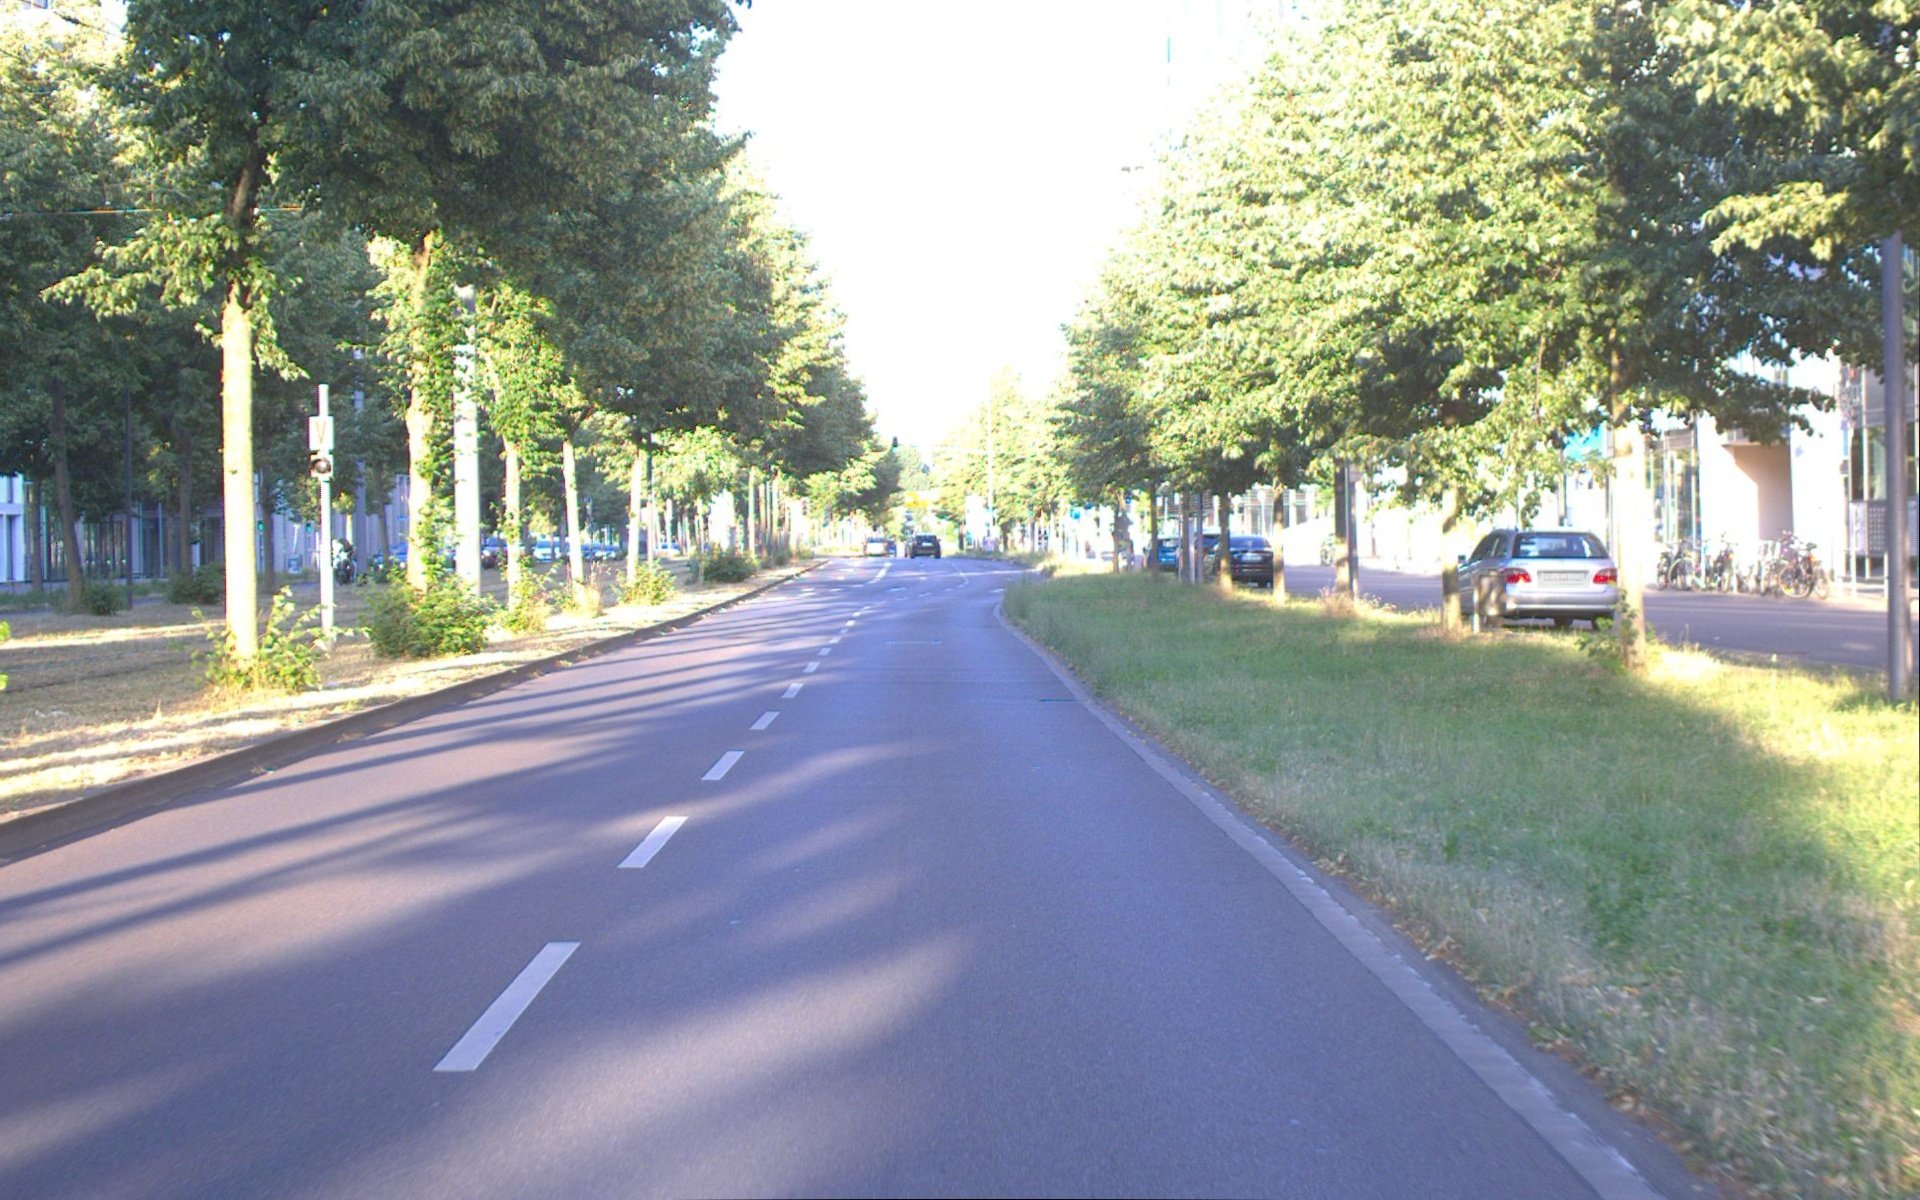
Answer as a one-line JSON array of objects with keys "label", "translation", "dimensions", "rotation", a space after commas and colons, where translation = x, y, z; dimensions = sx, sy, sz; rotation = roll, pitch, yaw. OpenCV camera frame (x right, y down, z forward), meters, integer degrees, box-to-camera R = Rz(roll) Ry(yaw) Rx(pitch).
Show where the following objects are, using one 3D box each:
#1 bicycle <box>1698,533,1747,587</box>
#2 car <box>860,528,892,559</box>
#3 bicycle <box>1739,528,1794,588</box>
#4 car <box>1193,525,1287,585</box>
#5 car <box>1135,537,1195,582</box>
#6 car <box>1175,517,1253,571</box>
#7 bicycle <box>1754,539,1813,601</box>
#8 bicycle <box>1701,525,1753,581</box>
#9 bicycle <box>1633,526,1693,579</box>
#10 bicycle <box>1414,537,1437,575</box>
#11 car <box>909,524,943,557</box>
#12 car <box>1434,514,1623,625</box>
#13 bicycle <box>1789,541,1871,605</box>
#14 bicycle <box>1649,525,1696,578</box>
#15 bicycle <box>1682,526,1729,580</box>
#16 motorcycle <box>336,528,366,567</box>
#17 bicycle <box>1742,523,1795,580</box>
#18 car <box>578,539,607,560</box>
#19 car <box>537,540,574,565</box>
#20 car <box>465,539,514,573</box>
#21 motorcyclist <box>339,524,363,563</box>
[{"label": "bicycle", "translation": [15.655, -0.827, 70.613], "dimensions": [0.533, 1.057, 1.857], "rotation": [-3, 1, 0]}, {"label": "car", "translation": [-5.587, -3.788, 229.037], "dimensions": [2.087, 2.007, 4.001], "rotation": [-1, 1, -1]}, {"label": "bicycle", "translation": [14.958, -0.786, 63.784], "dimensions": [0.533, 1.057, 1.857], "rotation": [-3, 1, 0]}, {"label": "car", "translation": [7.568, -1.235, 93.280], "dimensions": [1.943, 1.543, 4.812], "rotation": [-1, 1, -3]}, {"label": "car", "translation": [7.099, -1.422, 119.296], "dimensions": [1.724, 1.524, 4.269], "rotation": [1, 1, -1]}, {"label": "car", "translation": [7.400, -1.656, 100.623], "dimensions": [1.854, 1.524, 4.483], "rotation": [1, 1, -1]}, {"label": "bicycle", "translation": [14.620, -0.539, 61.057], "dimensions": [0.533, 1.057, 1.857], "rotation": [-3, 1, 0]}, {"label": "bicycle", "translation": [14.974, -0.927, 67.164], "dimensions": [0.533, 1.057, 1.857], "rotation": [-3, 1, 0]}, {"label": "bicycle", "translation": [14.341, -0.972, 70.178], "dimensions": [0.533, 1.057, 1.781], "rotation": [-3, 1, -10]}, {"label": "bicycle", "translation": [14.479, -1.374, 106.882], "dimensions": [0.571, 1.120, 1.833], "rotation": [-2, 1, 11]}, {"label": "car", "translation": [-2.099, -3.675, 212.867], "dimensions": [1.993, 2.007, 4.001], "rotation": [-1, 1, -1]}, {"label": "car", "translation": [8.140, -0.477, 49.592], "dimensions": [1.808, 1.495, 4.826], "rotation": [-1, 1, -1]}, {"label": "bicycle", "translation": [14.956, -0.464, 59.122], "dimensions": [0.533, 1.057, 1.857], "rotation": [-3, 1, -13]}, {"label": "bicycle", "translation": [15.015, -1.027, 72.471], "dimensions": [0.533, 1.057, 1.857], "rotation": [-3, 1, 0]}, {"label": "bicycle", "translation": [15.095, -0.957, 69.662], "dimensions": [0.533, 1.057, 1.857], "rotation": [-1, 1, 0]}, {"label": "motorcycle", "translation": [-21.429, -1.844, 120.974], "dimensions": [0.682, 1.332, 2.345], "rotation": [-1, 1, -1]}, {"label": "bicycle", "translation": [15.533, -0.939, 66.065], "dimensions": [0.533, 1.057, 1.857], "rotation": [-3, 1, 0]}, {"label": "car", "translation": [-25.432, -3.492, 238.002], "dimensions": [1.776, 1.406, 3.709], "rotation": [-1, 1, -2]}, {"label": "car", "translation": [-22.193, -2.623, 188.778], "dimensions": [1.657, 1.327, 4.531], "rotation": [-1, 1, -2]}, {"label": "car", "translation": [-22.572, -2.110, 164.960], "dimensions": [1.885, 1.572, 4.183], "rotation": [-1, 1, -2]}, {"label": "motorcyclist", "translation": [-21.437, -1.996, 121.000], "dimensions": [0.681, 1.371, 0.805], "rotation": [-1, 1, -1]}]
